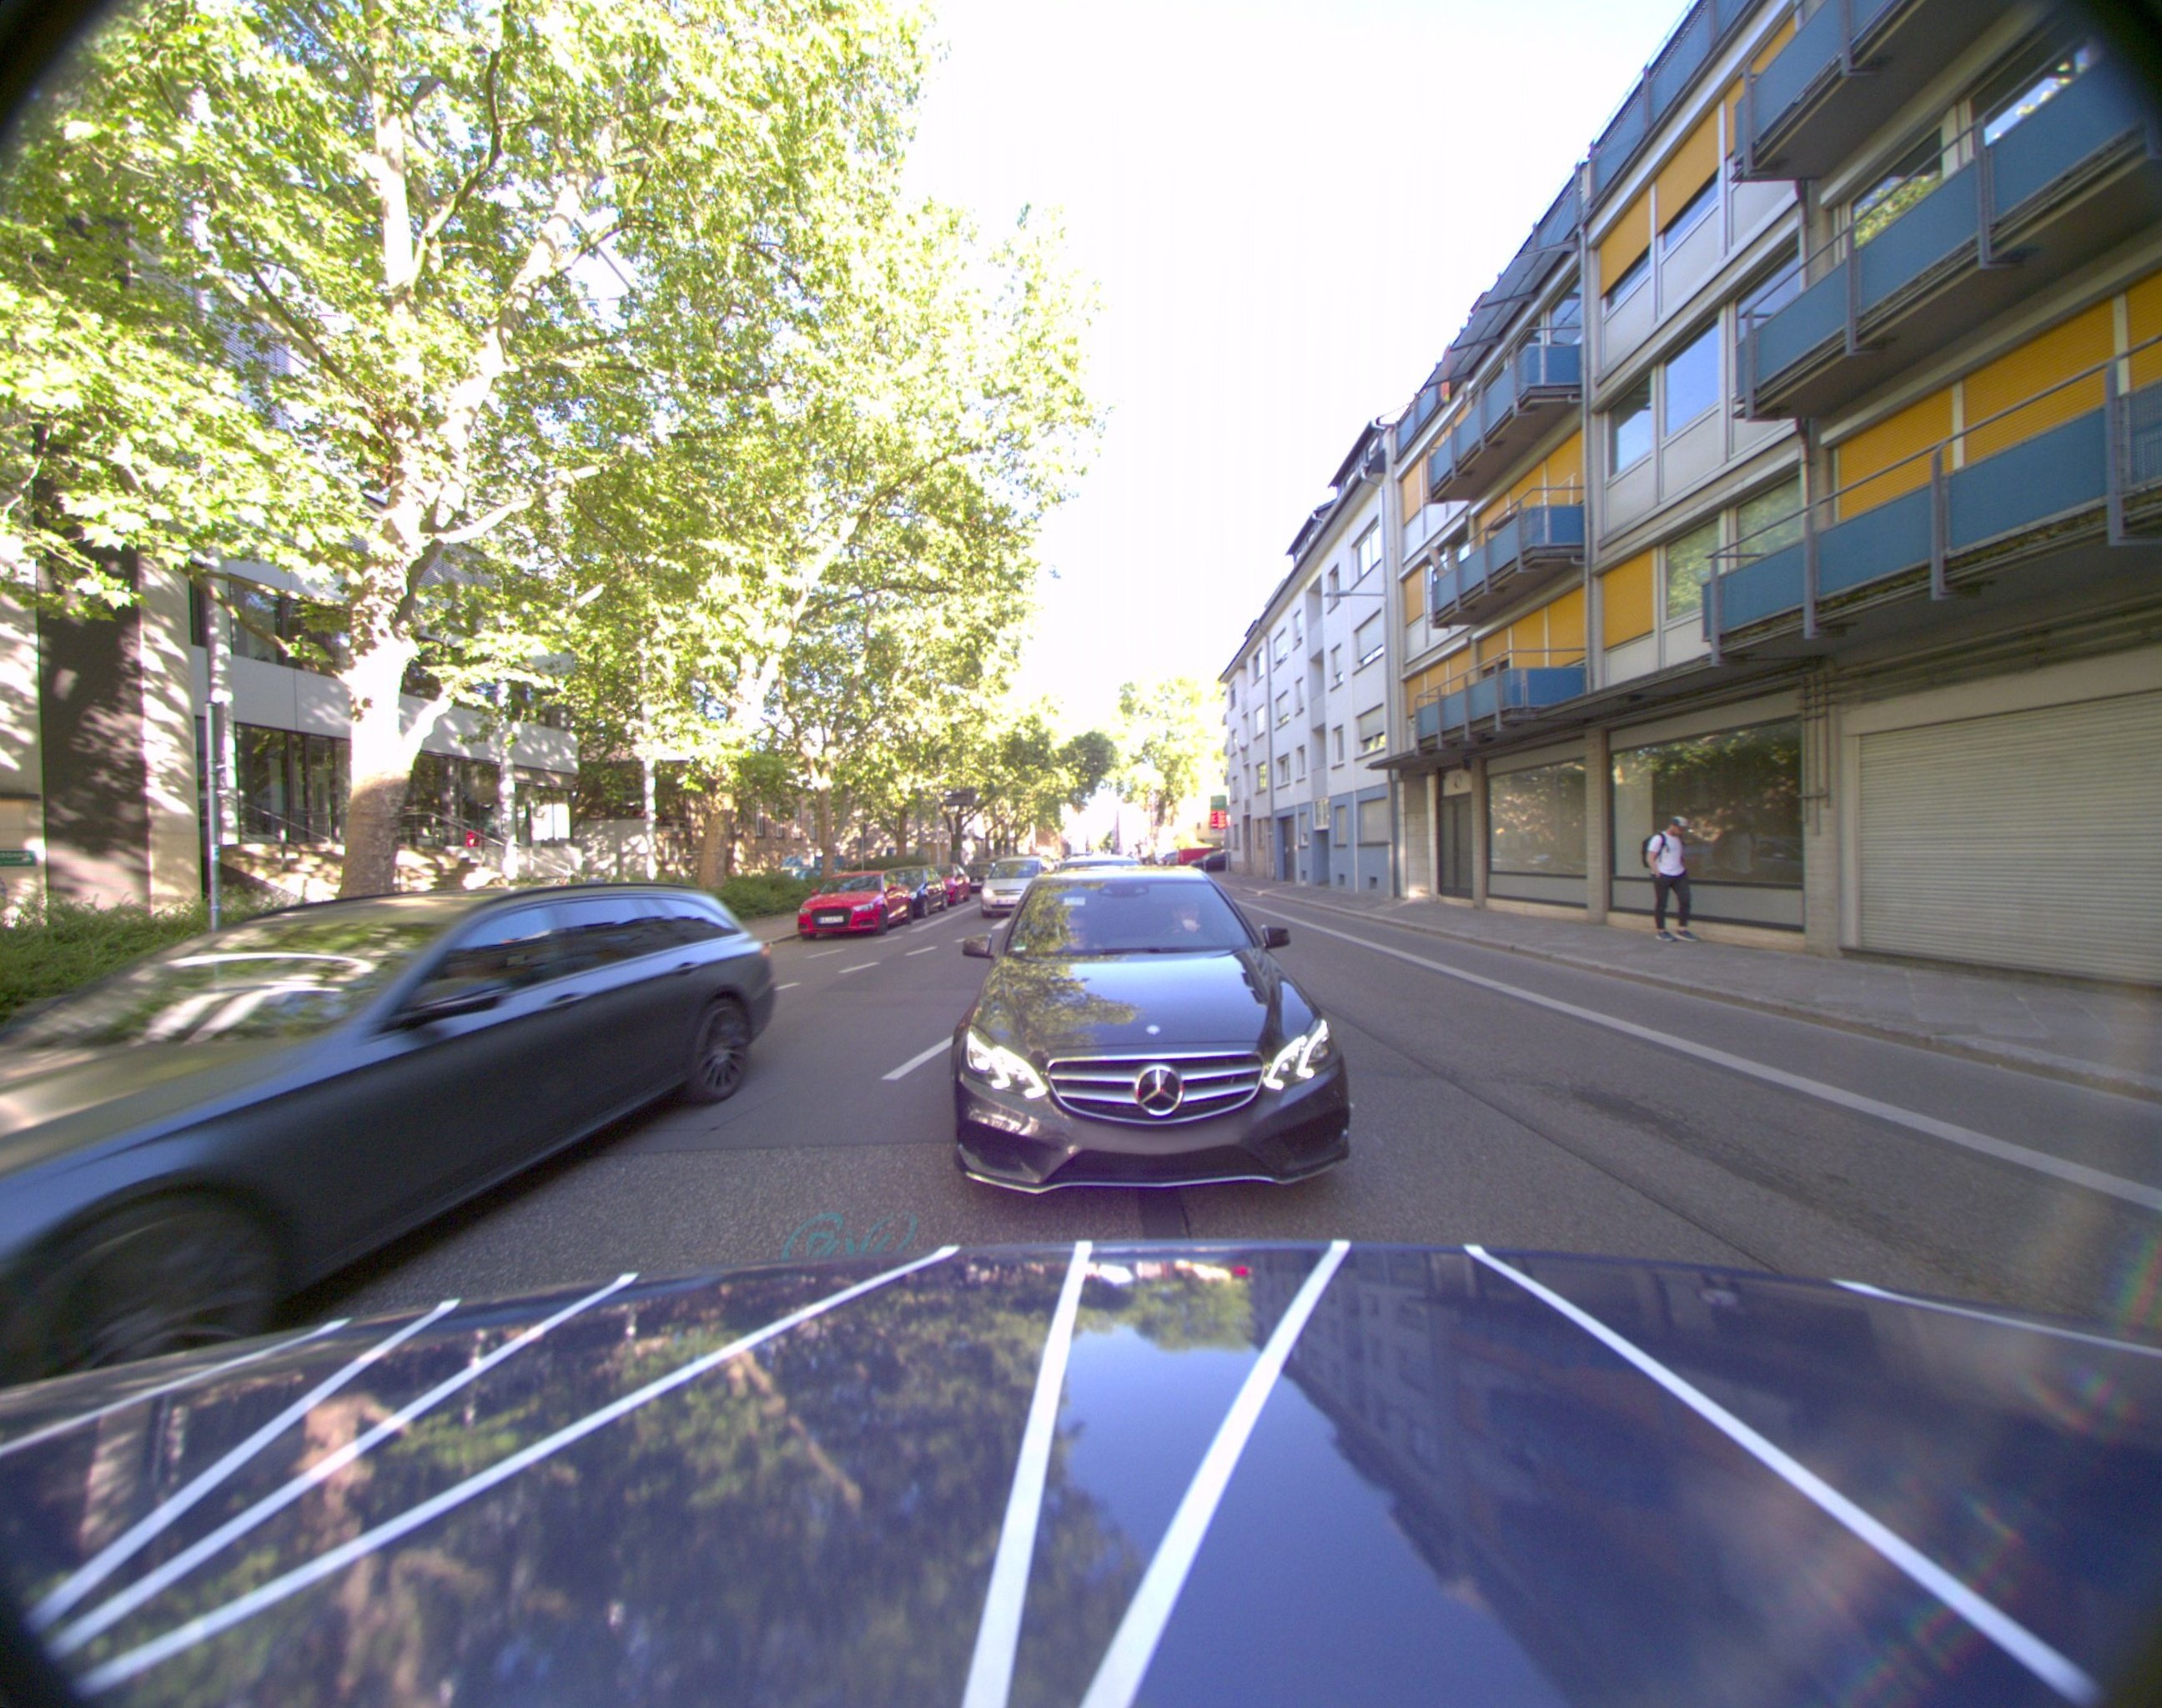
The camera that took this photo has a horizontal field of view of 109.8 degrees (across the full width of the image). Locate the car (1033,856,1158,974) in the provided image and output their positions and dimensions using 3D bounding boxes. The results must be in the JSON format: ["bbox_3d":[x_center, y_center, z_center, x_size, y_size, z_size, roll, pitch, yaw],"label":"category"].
[{"bbox_3d":[0.230,0.852,12.900,1.646,1.520,4.619,-4,0,1],"label":"car"}]

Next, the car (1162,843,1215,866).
[{"bbox_3d":[10.910,0.023,77.337,4.990,2.181,2.000,-2,1,1],"label":"car"}]

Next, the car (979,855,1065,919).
[{"bbox_3d":[-1.561,0.852,21.438,1.705,1.593,3.861,-1,0,6],"label":"car"}]

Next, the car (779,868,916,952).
[{"bbox_3d":[-5.242,1.185,17.646,1.830,1.519,4.142,-4,0,0],"label":"car"}]

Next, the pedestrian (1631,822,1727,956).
[{"bbox_3d":[8.427,0.474,10.740,0.600,1.790,0.879,-3,1,3],"label":"pedestrian"}]

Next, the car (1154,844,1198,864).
[{"bbox_3d":[11.153,0.009,89.393,4.990,2.181,2.000,-2,1,1],"label":"car"}]

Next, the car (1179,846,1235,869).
[{"bbox_3d":[10.134,0.267,61.289,4.146,1.681,2.000,-2,0,1],"label":"car"}]

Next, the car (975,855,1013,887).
[{"bbox_3d":[-4.796,0.908,42.277,1.634,1.677,3.907,-2,0,0],"label":"car"}]

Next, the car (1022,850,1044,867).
[{"bbox_3d":[-4.387,0.433,70.442,1.741,1.469,4.091,-2,0,0],"label":"car"}]

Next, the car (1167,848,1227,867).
[{"bbox_3d":[10.157,0.282,66.699,4.990,1.486,2.000,-2,0,1],"label":"car"}]

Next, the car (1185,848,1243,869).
[{"bbox_3d":[10.311,0.322,58.959,4.146,1.486,2.000,-2,0,1],"label":"car"}]

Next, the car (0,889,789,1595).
[{"bbox_3d":[-3.429,1.078,3.555,1.917,1.456,4.670,-4,0,5],"label":"car"}]

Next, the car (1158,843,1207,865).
[{"bbox_3d":[11.034,-0.011,82.820,4.990,2.181,2.000,-2,1,1],"label":"car"}]

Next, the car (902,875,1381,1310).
[{"bbox_3d":[0.222,0.938,4.751,1.740,1.448,3.864,-2,0,0],"label":"car"}]

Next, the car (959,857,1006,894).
[{"bbox_3d":[-4.807,1.010,37.422,1.741,1.622,4.091,-2,0,0],"label":"car"}]

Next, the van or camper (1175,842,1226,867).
[{"bbox_3d":[10.056,0.022,64.196,3.997,2.002,2.000,-2,1,0],"label":"van or camper"}]

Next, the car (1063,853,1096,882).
[{"bbox_3d":[-0.086,0.700,41.594,1.648,1.473,3.975,-1,0,0],"label":"car"}]

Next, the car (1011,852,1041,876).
[{"bbox_3d":[-4.281,0.738,59.949,1.992,1.795,4.376,-2,0,0],"label":"car"}]

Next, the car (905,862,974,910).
[{"bbox_3d":[-5.055,1.095,27.606,1.681,1.484,3.918,-4,0,0],"label":"car"}]

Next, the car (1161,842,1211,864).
[{"bbox_3d":[11.030,-0.104,80.188,4.990,2.181,2.000,-2,1,1],"label":"car"}]
